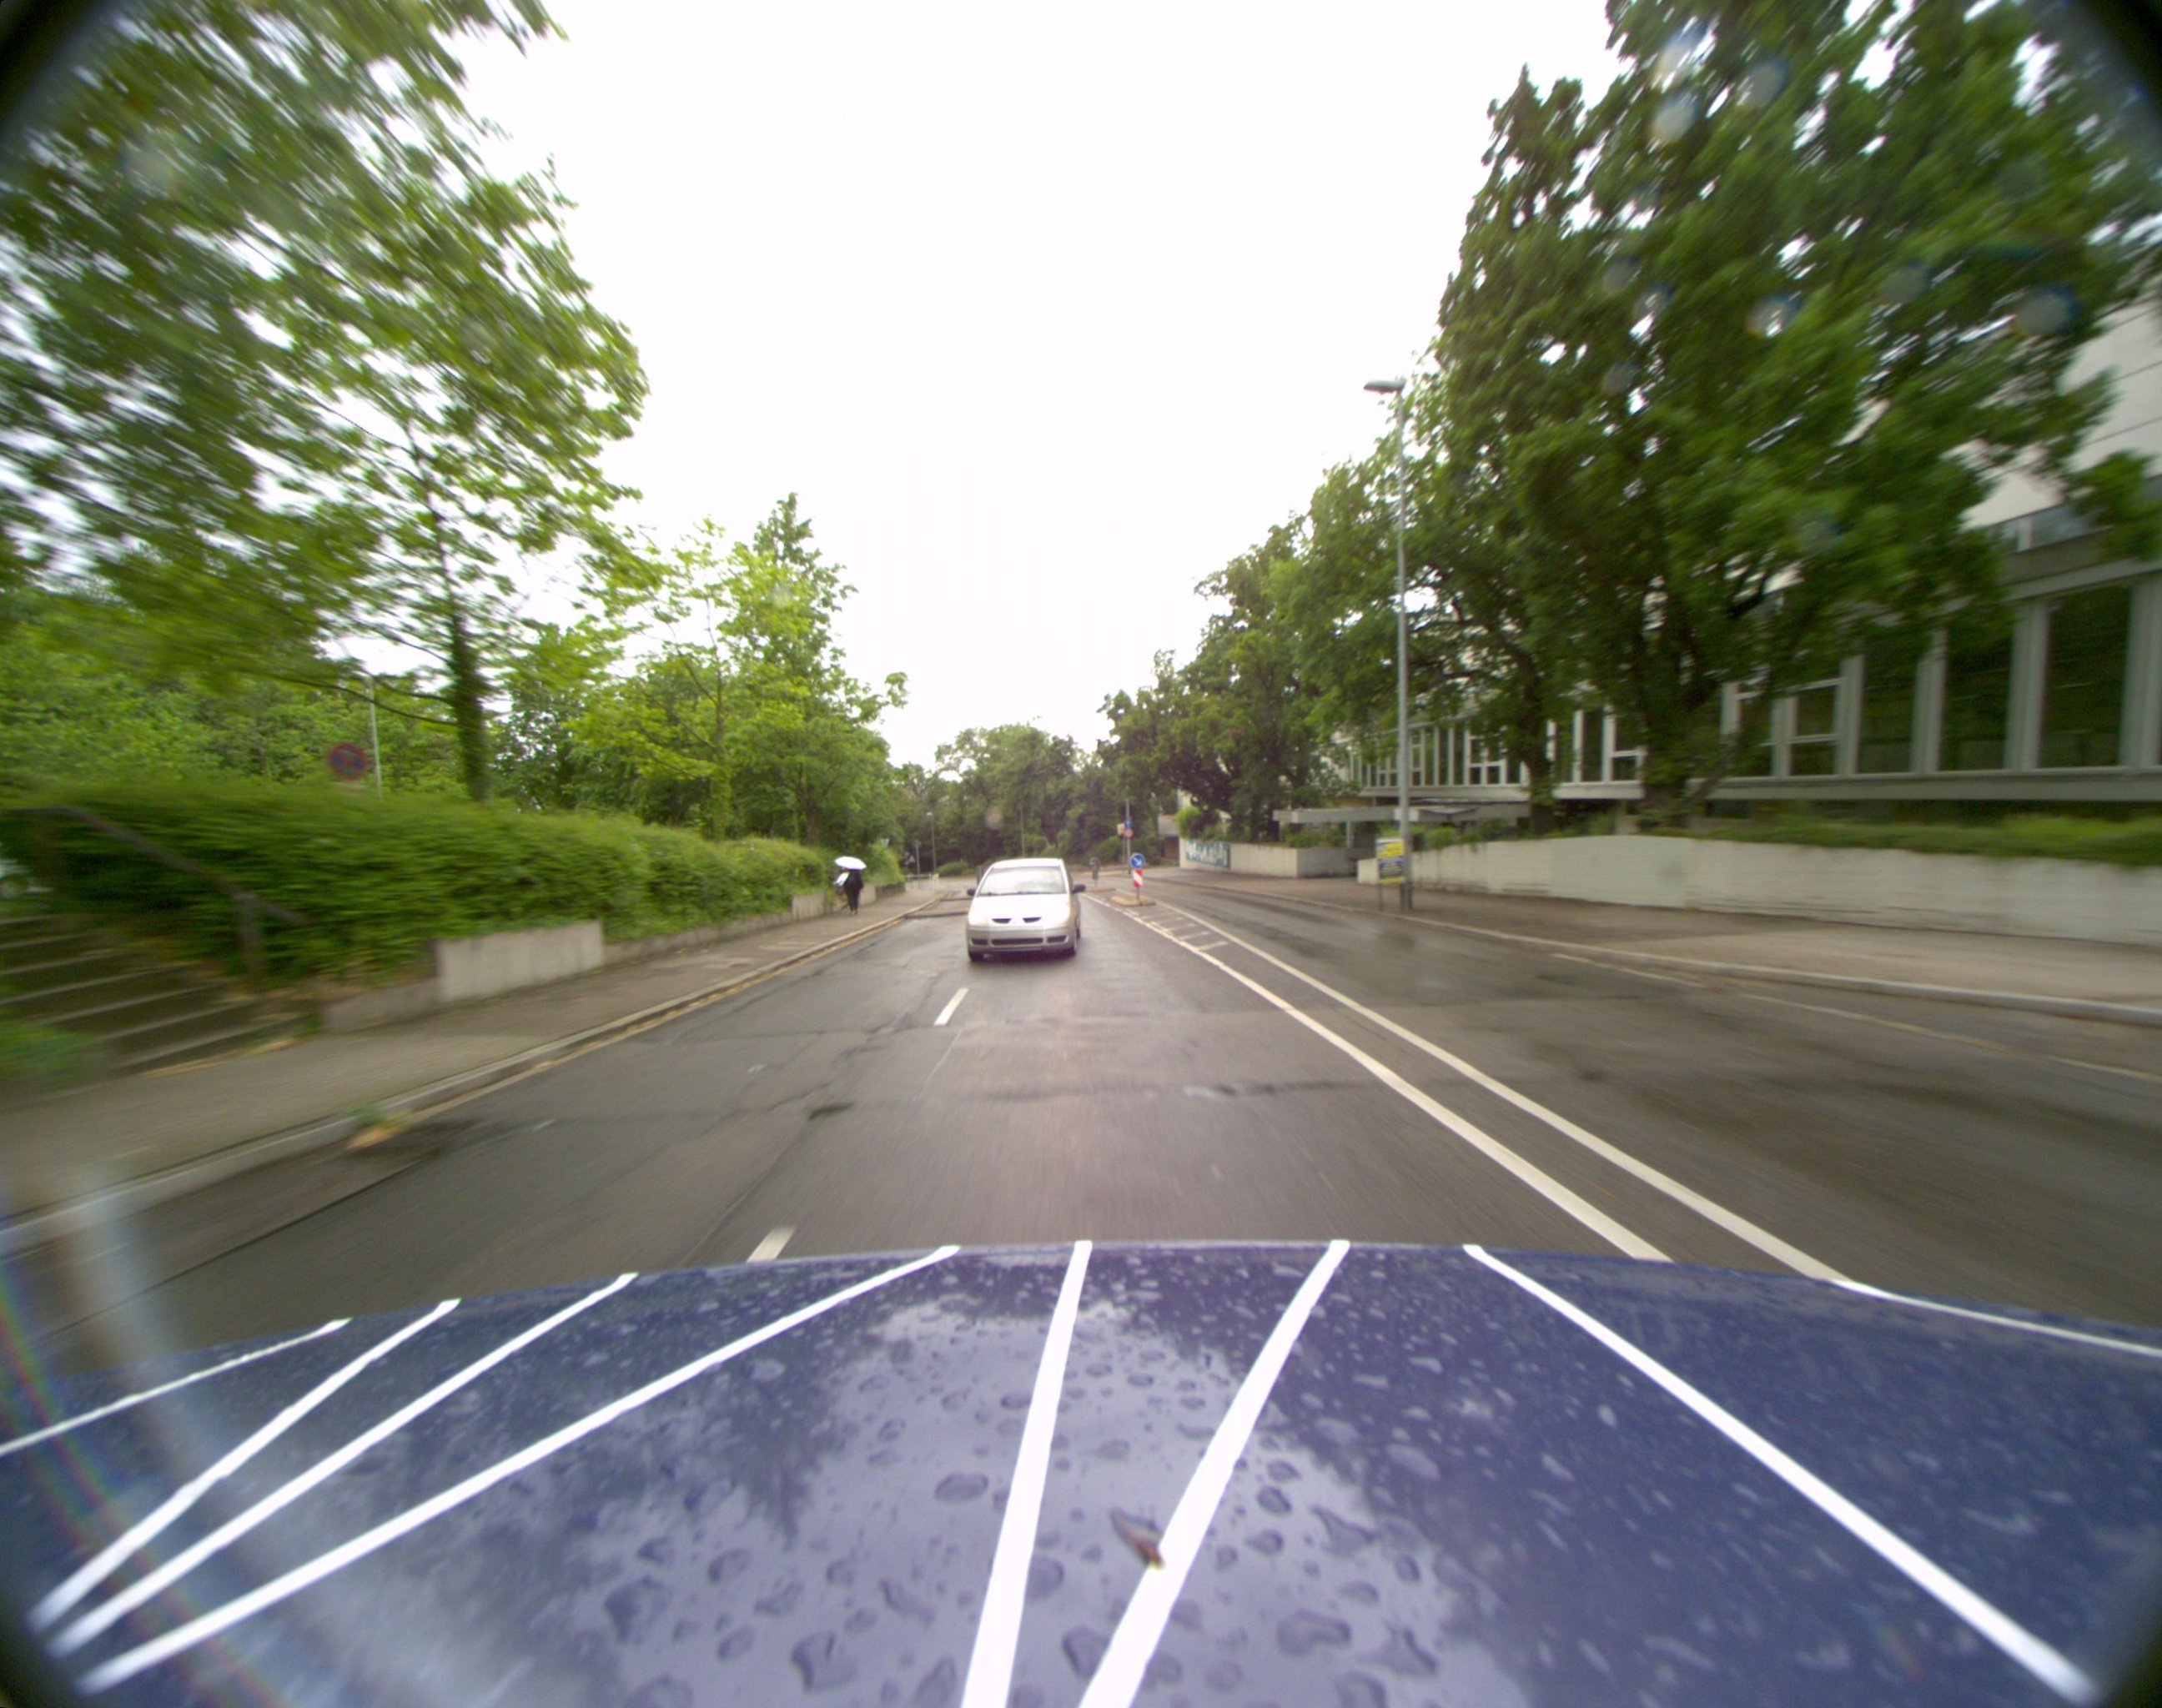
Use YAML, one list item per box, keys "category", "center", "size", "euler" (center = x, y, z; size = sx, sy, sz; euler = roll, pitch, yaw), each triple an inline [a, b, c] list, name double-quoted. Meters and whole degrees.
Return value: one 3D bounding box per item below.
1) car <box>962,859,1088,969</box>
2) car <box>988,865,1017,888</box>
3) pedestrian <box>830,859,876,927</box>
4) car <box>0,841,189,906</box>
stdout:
- category: "car"
  center: [-0.804, 0.897, 13.083]
  size: [1.639, 1.496, 4.000]
  euler: [-2, 0, 3]
- category: "car"
  center: [-6.434, 1.814, 61.957]
  size: [2.037, 1.691, 3.997]
  euler: [-4, 0, -10]
- category: "pedestrian"
  center: [-6.772, 1.132, 22.623]
  size: [1.054, 1.883, 1.132]
  euler: [-3, 2, -8]
- category: "car"
  center: [-26.096, 0.502, 19.329]
  size: [1.899, 1.444, 4.170]
  euler: [-4, 0, -3]
